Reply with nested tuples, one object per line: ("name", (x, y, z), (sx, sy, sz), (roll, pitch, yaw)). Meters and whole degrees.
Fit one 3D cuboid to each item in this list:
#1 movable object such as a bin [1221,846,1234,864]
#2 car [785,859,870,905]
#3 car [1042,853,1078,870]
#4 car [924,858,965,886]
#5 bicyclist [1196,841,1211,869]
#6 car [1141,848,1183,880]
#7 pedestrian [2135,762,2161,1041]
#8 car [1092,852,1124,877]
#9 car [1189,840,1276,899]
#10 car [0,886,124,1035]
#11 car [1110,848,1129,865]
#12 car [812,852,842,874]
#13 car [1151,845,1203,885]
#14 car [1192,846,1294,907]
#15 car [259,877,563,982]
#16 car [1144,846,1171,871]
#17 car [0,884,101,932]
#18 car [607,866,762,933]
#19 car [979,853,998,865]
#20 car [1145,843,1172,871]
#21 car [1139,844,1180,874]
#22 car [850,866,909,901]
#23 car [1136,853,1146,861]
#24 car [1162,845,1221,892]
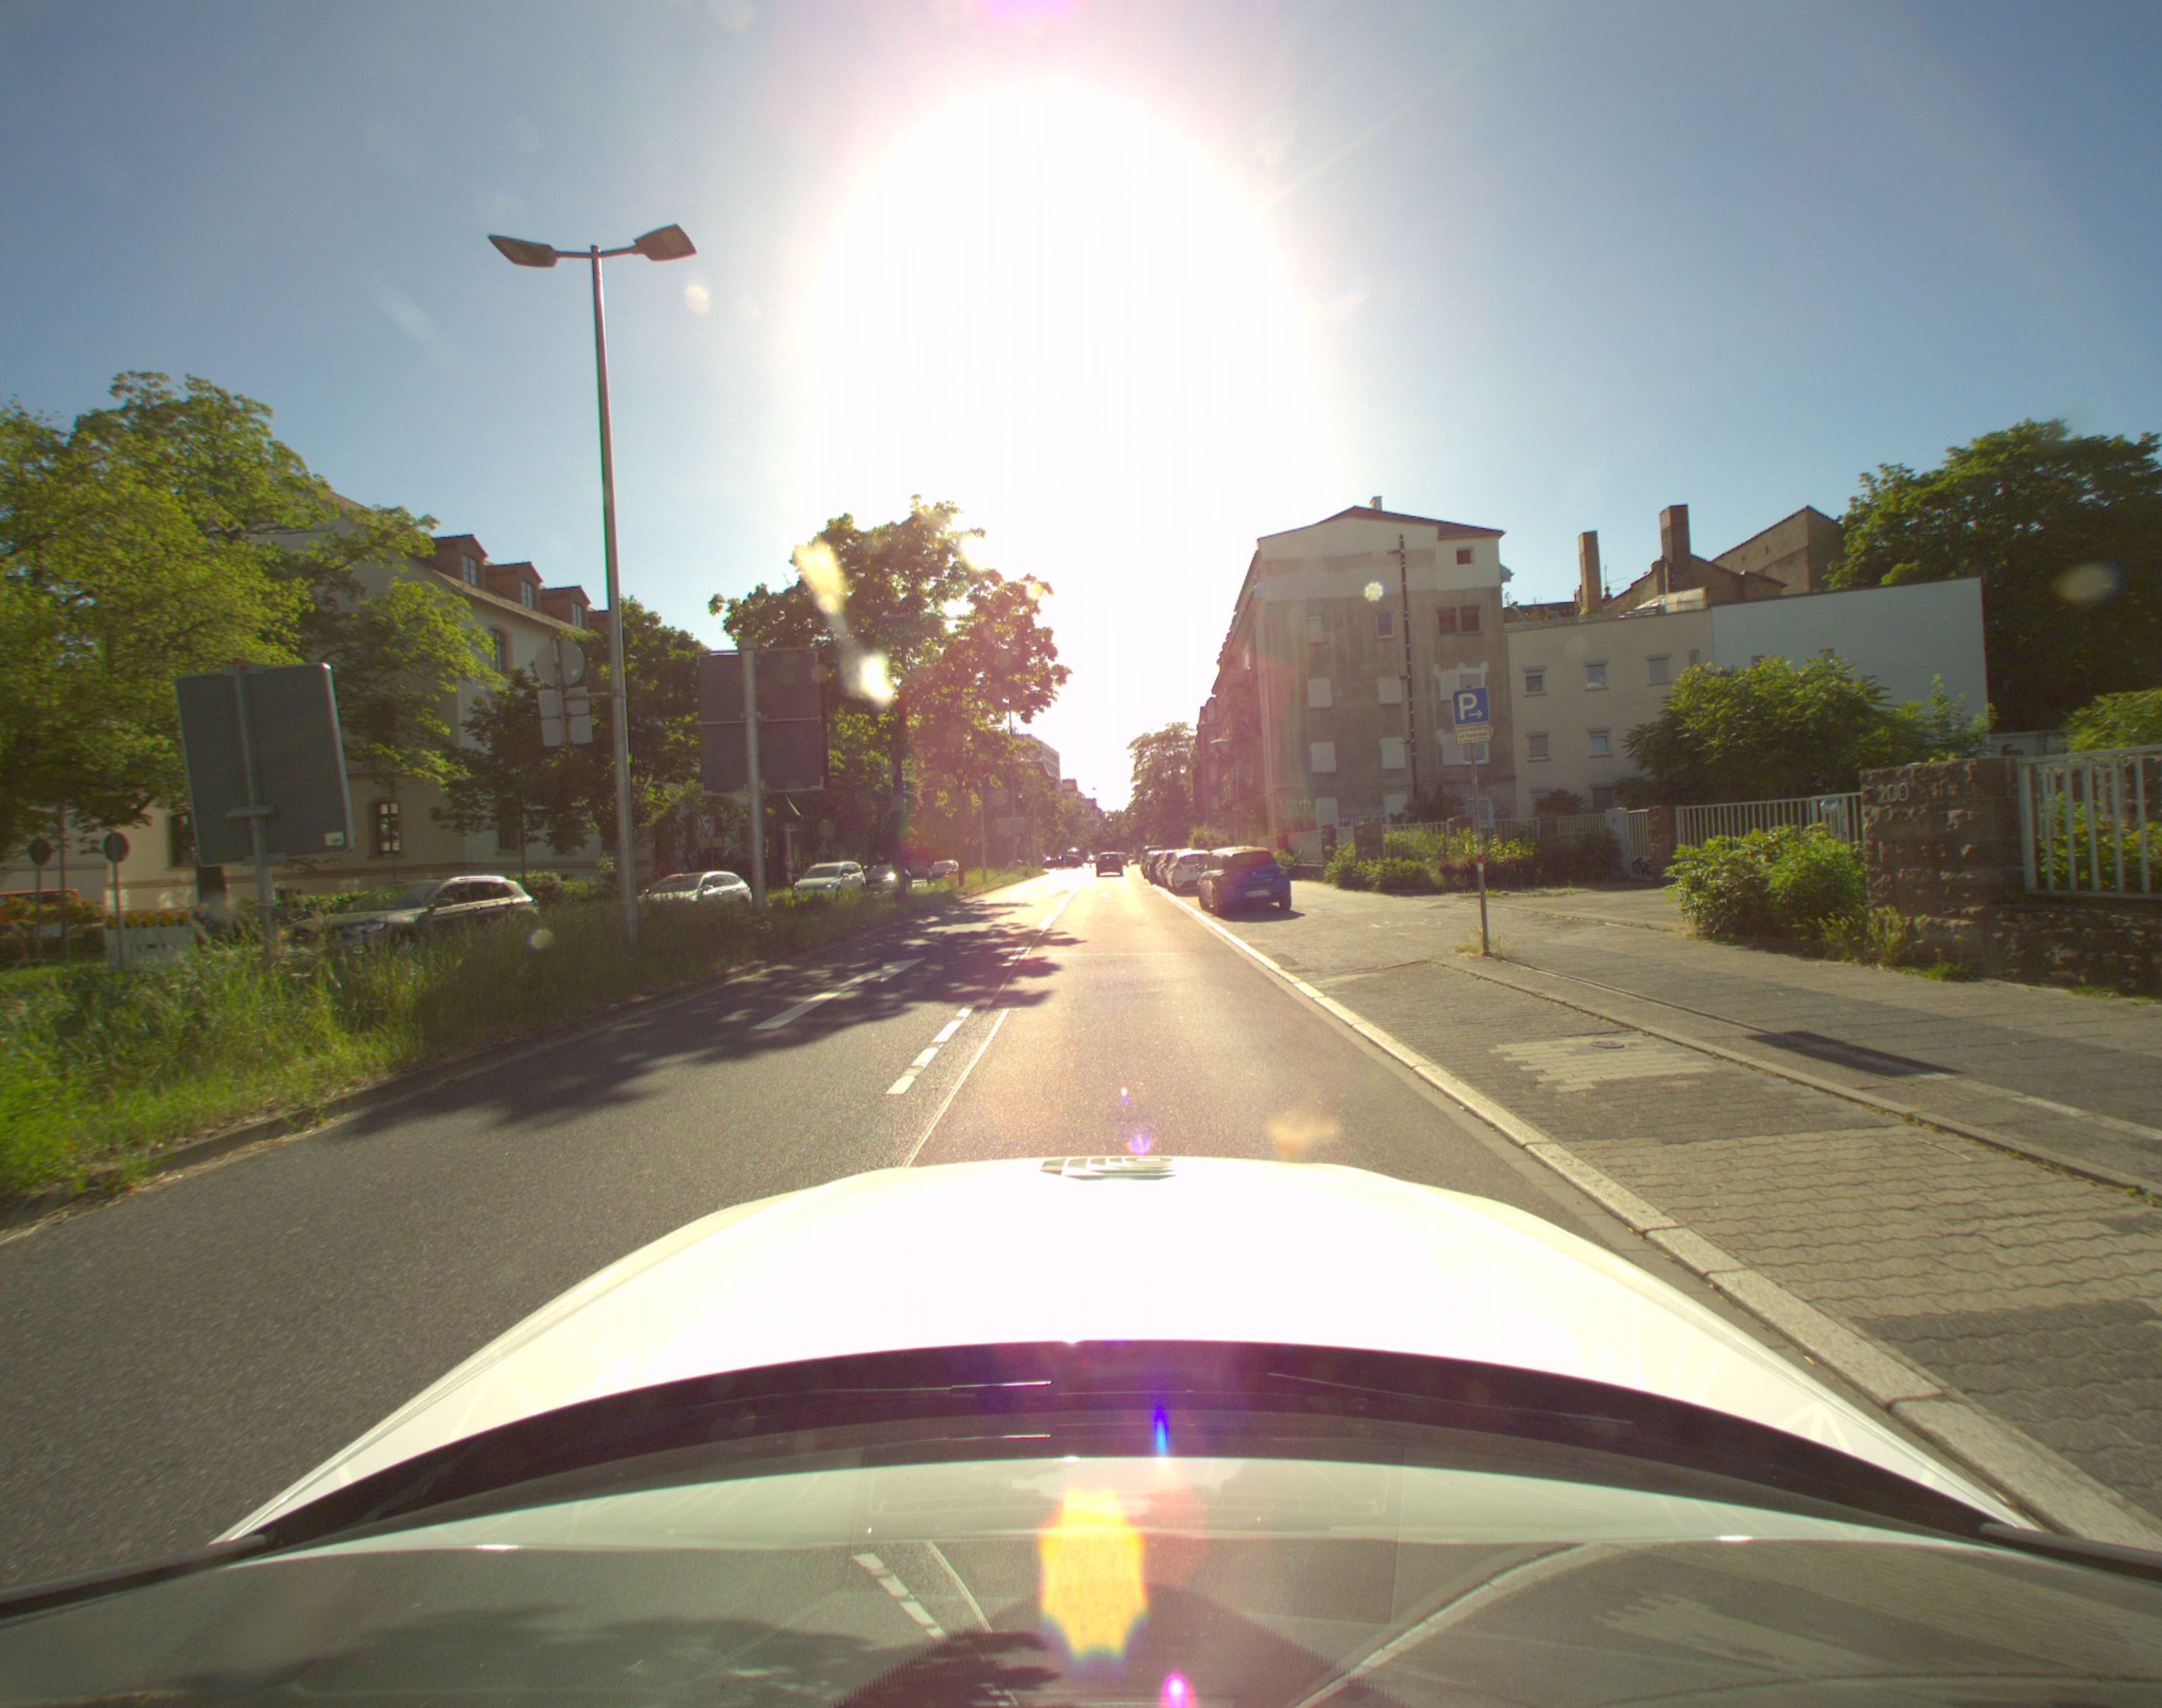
("movable object such as a bin", (10.106, 0.077, 56.137), (0.755, 1.157, 0.609), (-2, -3, 4))
("car", (-10.331, 1.072, 33.548), (1.894, 1.625, 4.538), (-4, 0, 1))
("car", (-2.215, 0.835, 86.832), (3.837, 1.633, 1.619), (-2, -3, -1))
("car", (-8.259, 1.073, 49.748), (1.632, 1.519, 4.259), (-3, 0, 1))
("bicyclist", (7.019, 0.040, 46.811), (0.738, 1.580, 1.101), (-2, 1, 4))
("car", (3.947, 0.456, 40.141), (1.662, 1.393, 3.776), (-3, 0, 1))
("pedestrian", (6.484, 0.264, 4.260), (0.740, 1.583, 0.897), (-2, 0, 2))
("car", (1.750, 0.677, 53.760), (1.889, 1.519, 3.999), (-1, 0, -1))
("car", (4.470, 0.418, 24.645), (1.663, 1.459, 3.983), (-6, 0, -2))
("car", (-12.256, 1.172, 7.481), (1.789, 1.519, 4.259), (-3, 0, 1))
("car", (3.867, 0.192, 82.642), (1.785, 1.520, 3.851), (-2, 2, 2))
("car", (-31.013, 1.129, 99.426), (1.838, 2.324, 4.988), (-1, -3, 3))
("car", (4.078, 0.444, 35.051), (1.663, 1.519, 3.659), (-3, 0, -1))
("car", (3.863, 0.489, 20.075), (1.662, 1.182, 3.901), (-6, 0, 0))
("car", (-11.564, 1.213, 14.528), (1.789, 1.519, 4.260), (-2, -2, 2))
("car", (5.001, 0.257, 53.628), (1.660, 1.467, 4.280), (-3, 0, 5))
("car", (-51.018, 2.664, 38.970), (1.983, 1.956, 4.803), (-3, 2, 7))
("car", (-11.045, 1.188, 23.118), (1.831, 1.519, 4.670), (-3, 0, 3))
("car", (-14.272, 0.828, 125.486), (1.980, 1.662, 3.976), (-3, 0, -18))
("car", (5.610, 0.199, 59.248), (1.811, 1.843, 4.370), (-3, 0, 5))
("car", (4.459, 0.270, 47.021), (1.928, 1.519, 4.485), (-3, 0, 1))
("car", (-10.023, 1.431, 40.864), (1.789, 1.519, 4.087), (-4, -1, 1))
("car", (12.776, 0.569, 174.433), (1.911, 1.640, 4.007), (-3, 0, 6))
("car", (3.952, 0.488, 29.605), (1.603, 1.446, 3.659), (-6, 0, 1))
